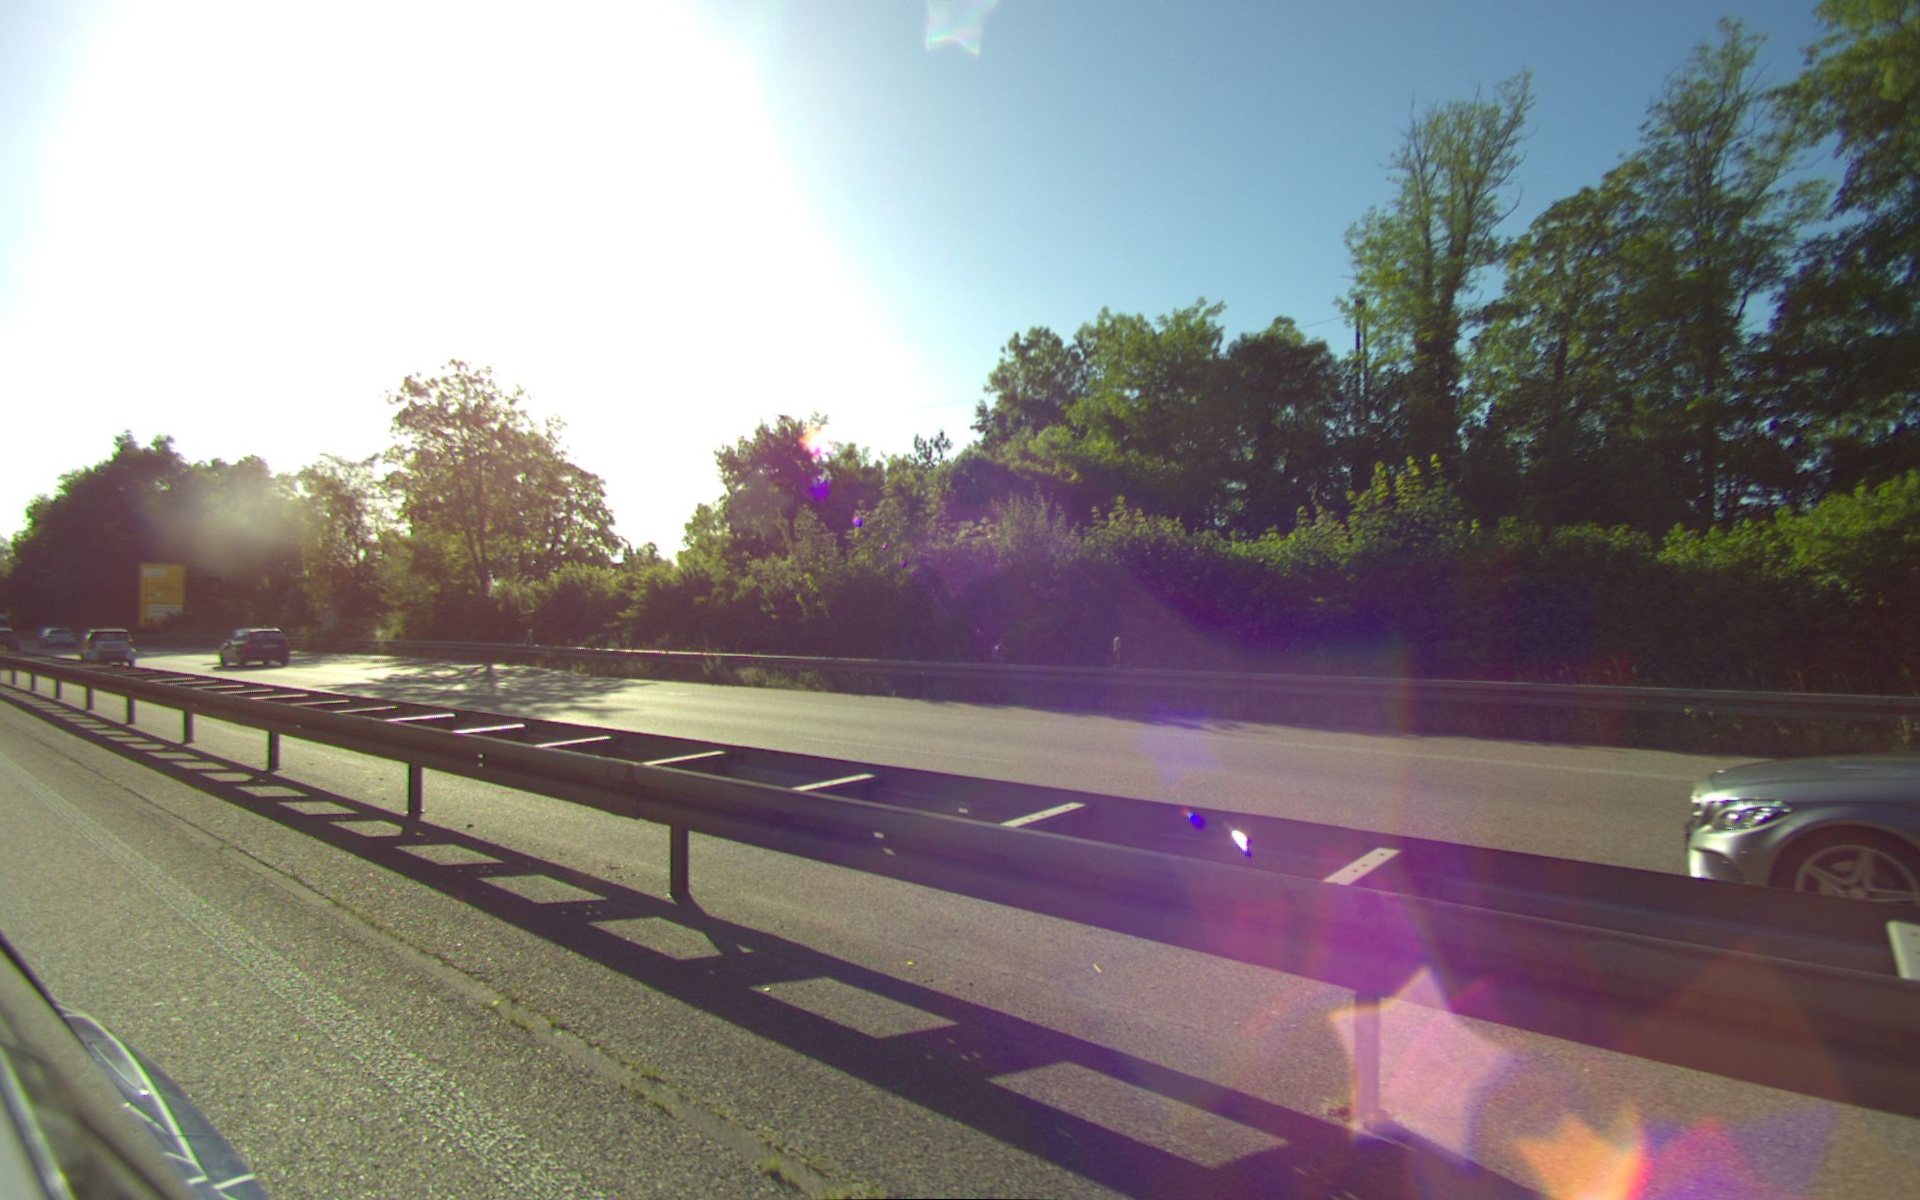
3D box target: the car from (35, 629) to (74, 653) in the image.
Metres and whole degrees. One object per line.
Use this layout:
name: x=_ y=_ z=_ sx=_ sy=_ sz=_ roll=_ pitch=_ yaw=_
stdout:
car: x=-65.516 y=2.936 z=73.215 sx=3.791 sy=1.561 sz=1.621 roll=-1 pitch=0 yaw=41

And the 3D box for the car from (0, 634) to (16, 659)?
car: x=-61.731 y=2.957 z=64.734 sx=3.791 sy=1.506 sz=1.621 roll=-1 pitch=0 yaw=41

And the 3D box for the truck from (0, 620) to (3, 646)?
truck: x=-97.237 y=3.292 z=100.784 sx=6.941 sy=2.604 sz=2.139 roll=-1 pitch=0 yaw=41

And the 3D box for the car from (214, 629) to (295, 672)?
car: x=-27.964 y=1.958 z=40.073 sx=3.975 sy=1.506 sz=1.730 roll=-1 pitch=0 yaw=41

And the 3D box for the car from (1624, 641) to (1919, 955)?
car: x=6.264 y=0.983 z=4.636 sx=5.202 sy=1.436 sz=1.730 roll=-1 pitch=0 yaw=41

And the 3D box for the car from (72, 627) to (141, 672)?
car: x=-35.037 y=1.988 z=41.533 sx=3.791 sy=1.716 sz=1.621 roll=-1 pitch=0 yaw=41
